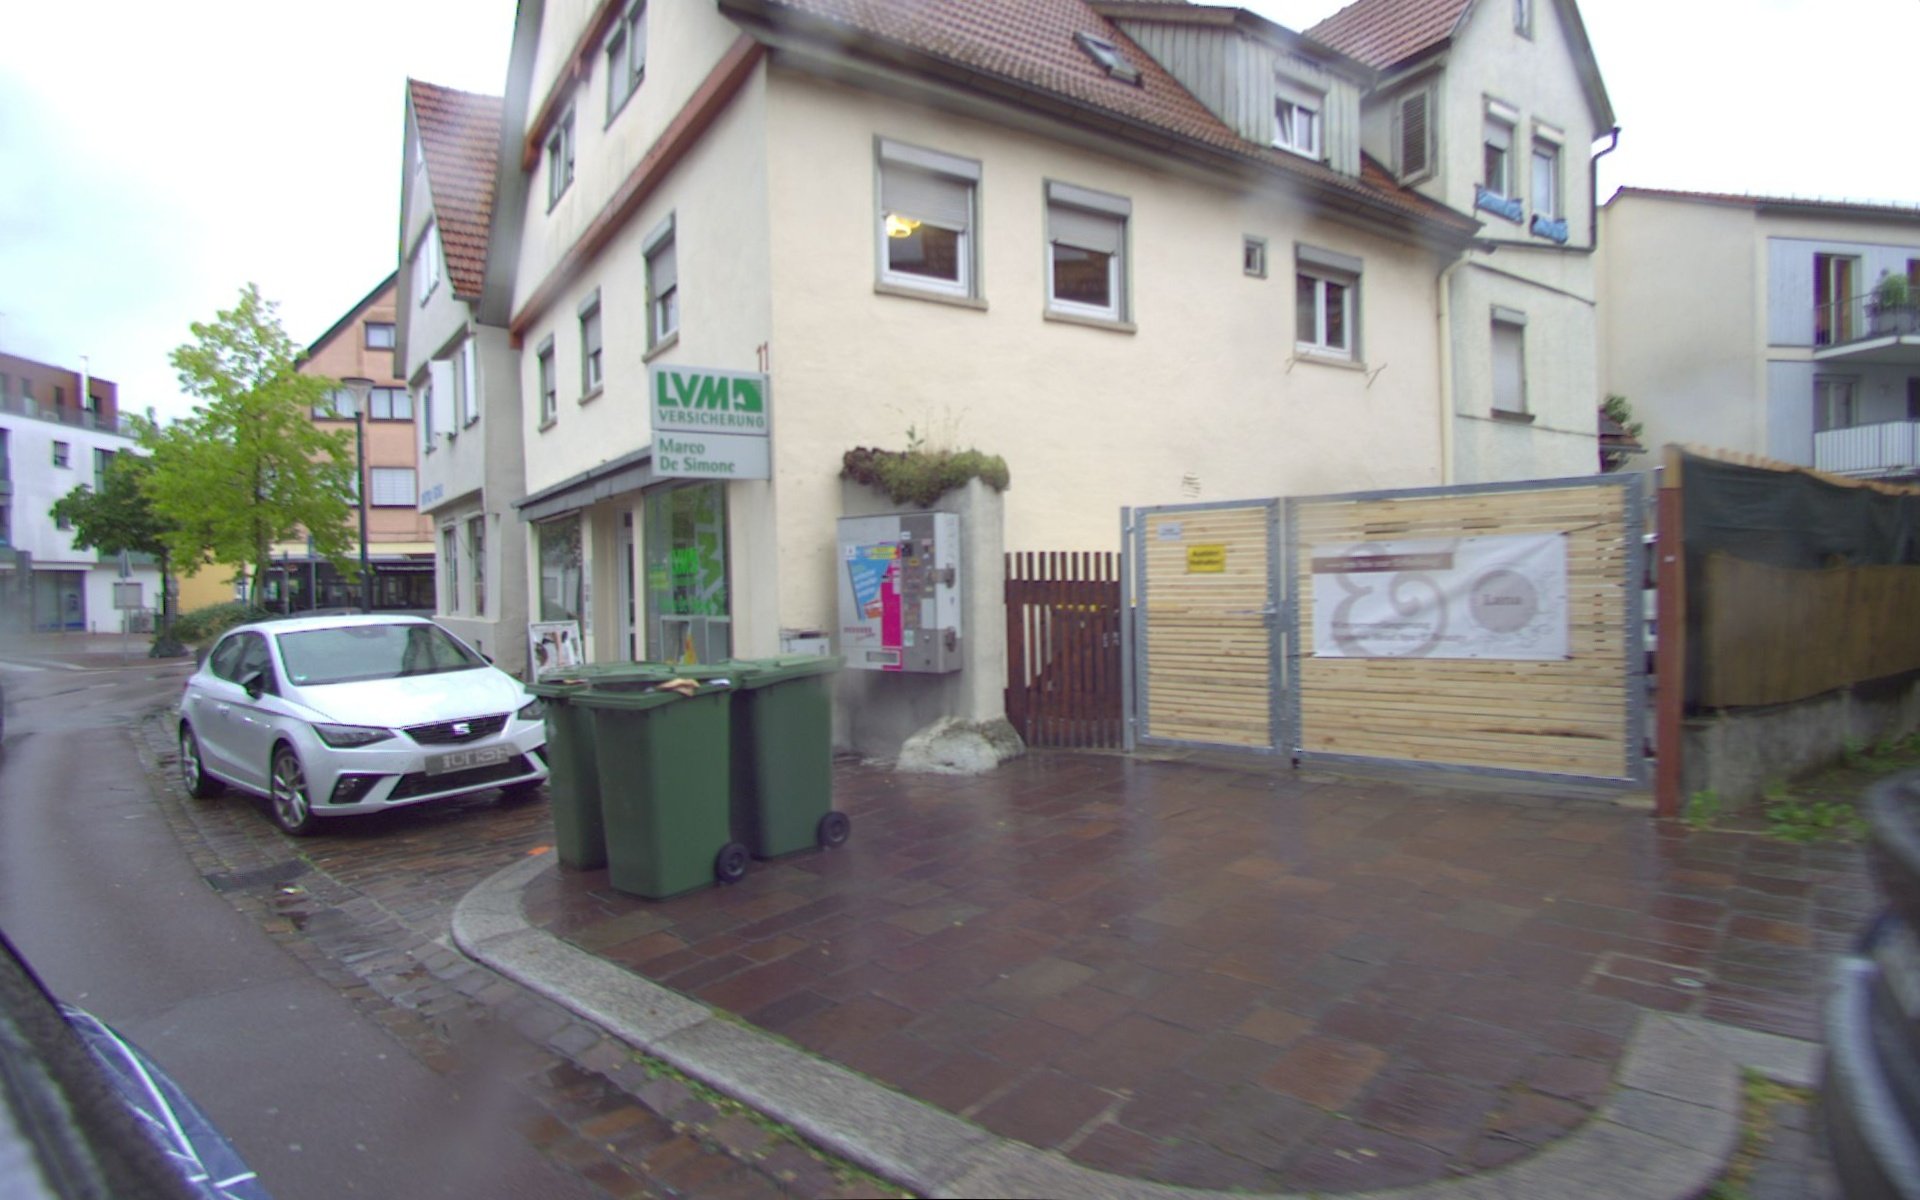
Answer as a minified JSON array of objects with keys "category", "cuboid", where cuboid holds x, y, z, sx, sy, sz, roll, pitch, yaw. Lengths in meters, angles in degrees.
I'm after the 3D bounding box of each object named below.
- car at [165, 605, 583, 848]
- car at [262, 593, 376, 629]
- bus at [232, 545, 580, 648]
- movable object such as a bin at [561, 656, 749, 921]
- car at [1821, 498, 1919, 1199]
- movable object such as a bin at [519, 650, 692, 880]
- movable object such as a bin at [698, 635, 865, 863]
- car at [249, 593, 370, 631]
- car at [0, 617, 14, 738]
[{"category":"car","cuboid":[-4.746,0.805,7.983,3.814,1.433,1.673,-2,0,40]},{"category":"car","cuboid":[-28.590,0.477,45.280,3.931,1.497,2.006,-1,0,-18]},{"category":"bus","cuboid":[-19.154,-0.182,35.952,10.508,3.325,2.689,-1,0,-22]},{"category":"movable object such as a bin","cuboid":[-1.484,0.860,4.933,0.624,1.117,0.652,0,0,44]},{"category":"car","cuboid":[3.457,0.552,0.547,4.364,1.465,1.976,0,0,36]},{"category":"movable object such as a bin","cuboid":[-1.943,0.863,5.571,0.547,1.095,0.684,0,2,44]},{"category":"movable object such as a bin","cuboid":[-0.979,0.767,5.563,0.624,1.117,0.652,0,0,44]},{"category":"car","cuboid":[-27.524,0.479,42.961,3.931,1.497,2.006,-1,0,-18]},{"category":"car","cuboid":[-11.163,0.905,9.968,1.967,1.417,4.905,-2,0,-35]}]
